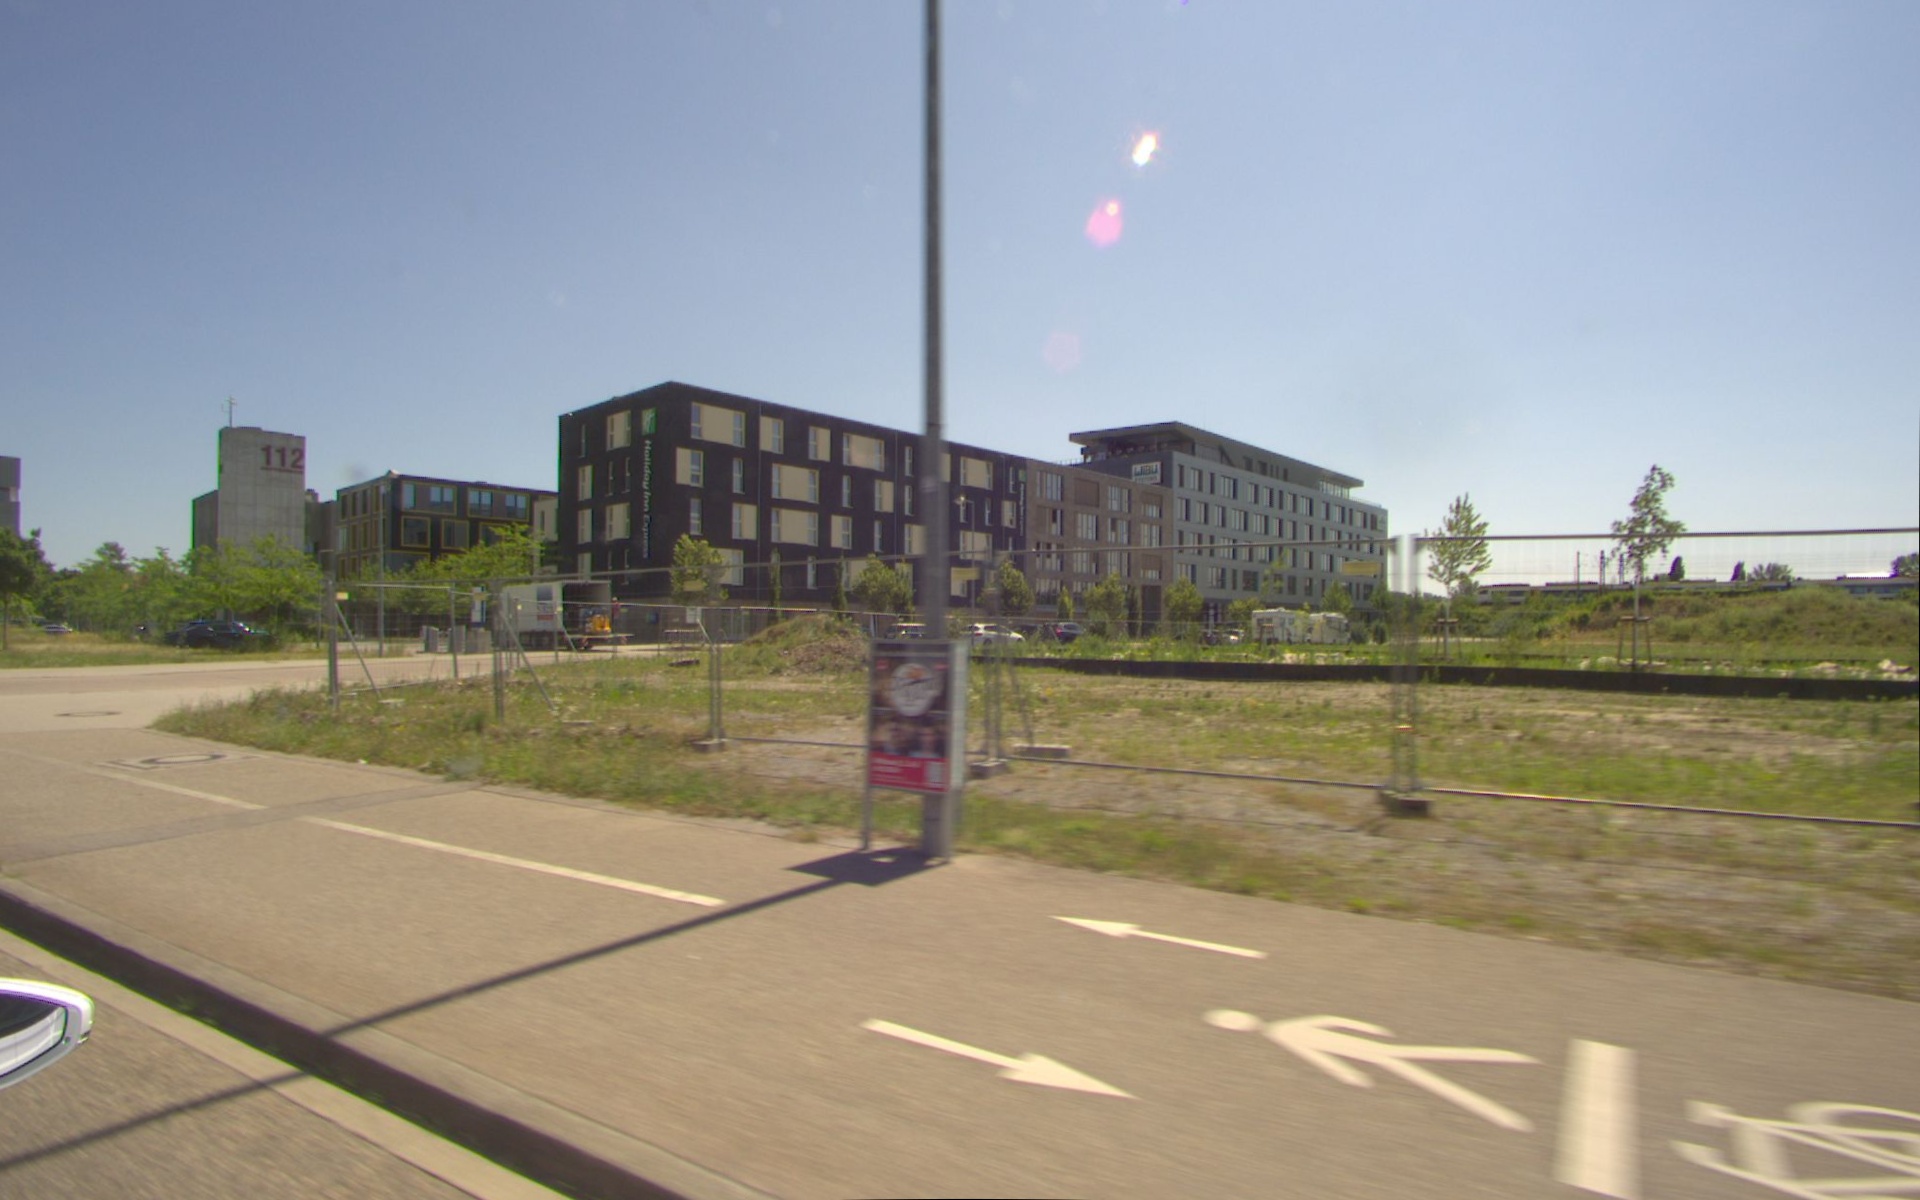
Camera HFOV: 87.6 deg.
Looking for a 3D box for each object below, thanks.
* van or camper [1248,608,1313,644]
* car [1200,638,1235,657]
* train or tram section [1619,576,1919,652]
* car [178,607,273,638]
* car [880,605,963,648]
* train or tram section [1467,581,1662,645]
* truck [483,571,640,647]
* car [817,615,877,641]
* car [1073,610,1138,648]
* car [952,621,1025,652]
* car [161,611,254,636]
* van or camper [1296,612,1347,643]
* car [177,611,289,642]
[{"bbox_3d":[25.937,2.106,80.842,2.538,2.812,6.371,0,-1,43],"label":"van or camper"},{"bbox_3d":[23.928,4.398,92.892,1.774,1.742,3.395,-2,-4,42],"label":"car"},{"bbox_3d":[122.843,2.097,145.438,9.502,10.053,44.380,2,-2,-41],"label":"train or tram section"},{"bbox_3d":[-41.540,1.275,56.660,1.933,1.673,4.038,0,-2,42],"label":"car"},{"bbox_3d":[-1.896,1.339,49.768,3.878,2.039,1.862,2,-1,-44],"label":"car"},{"bbox_3d":[101.742,2.284,169.636,9.500,10.053,26.766,2,-1,-41],"label":"train or tram section"},{"bbox_3d":[-20.822,0.456,51.690,12.014,3.507,2.990,-1,0,45],"label":"truck"},{"bbox_3d":[-6.796,1.665,60.207,3.541,1.472,1.681,0,-1,42],"label":"car"},{"bbox_3d":[8.507,1.706,58.292,1.861,2.038,3.884,-2,-4,43],"label":"car"},{"bbox_3d":[1.548,1.939,53.935,1.730,1.577,4.010,0,-1,43],"label":"car"},{"bbox_3d":[-45.111,1.400,60.067,1.937,1.463,4.100,0,-2,37],"label":"car"},{"bbox_3d":[31.432,2.394,87.038,2.377,2.567,5.393,0,-1,42],"label":"van or camper"},{"bbox_3d":[-38.453,1.412,53.024,2.009,1.582,4.472,0,-2,41],"label":"car"}]
